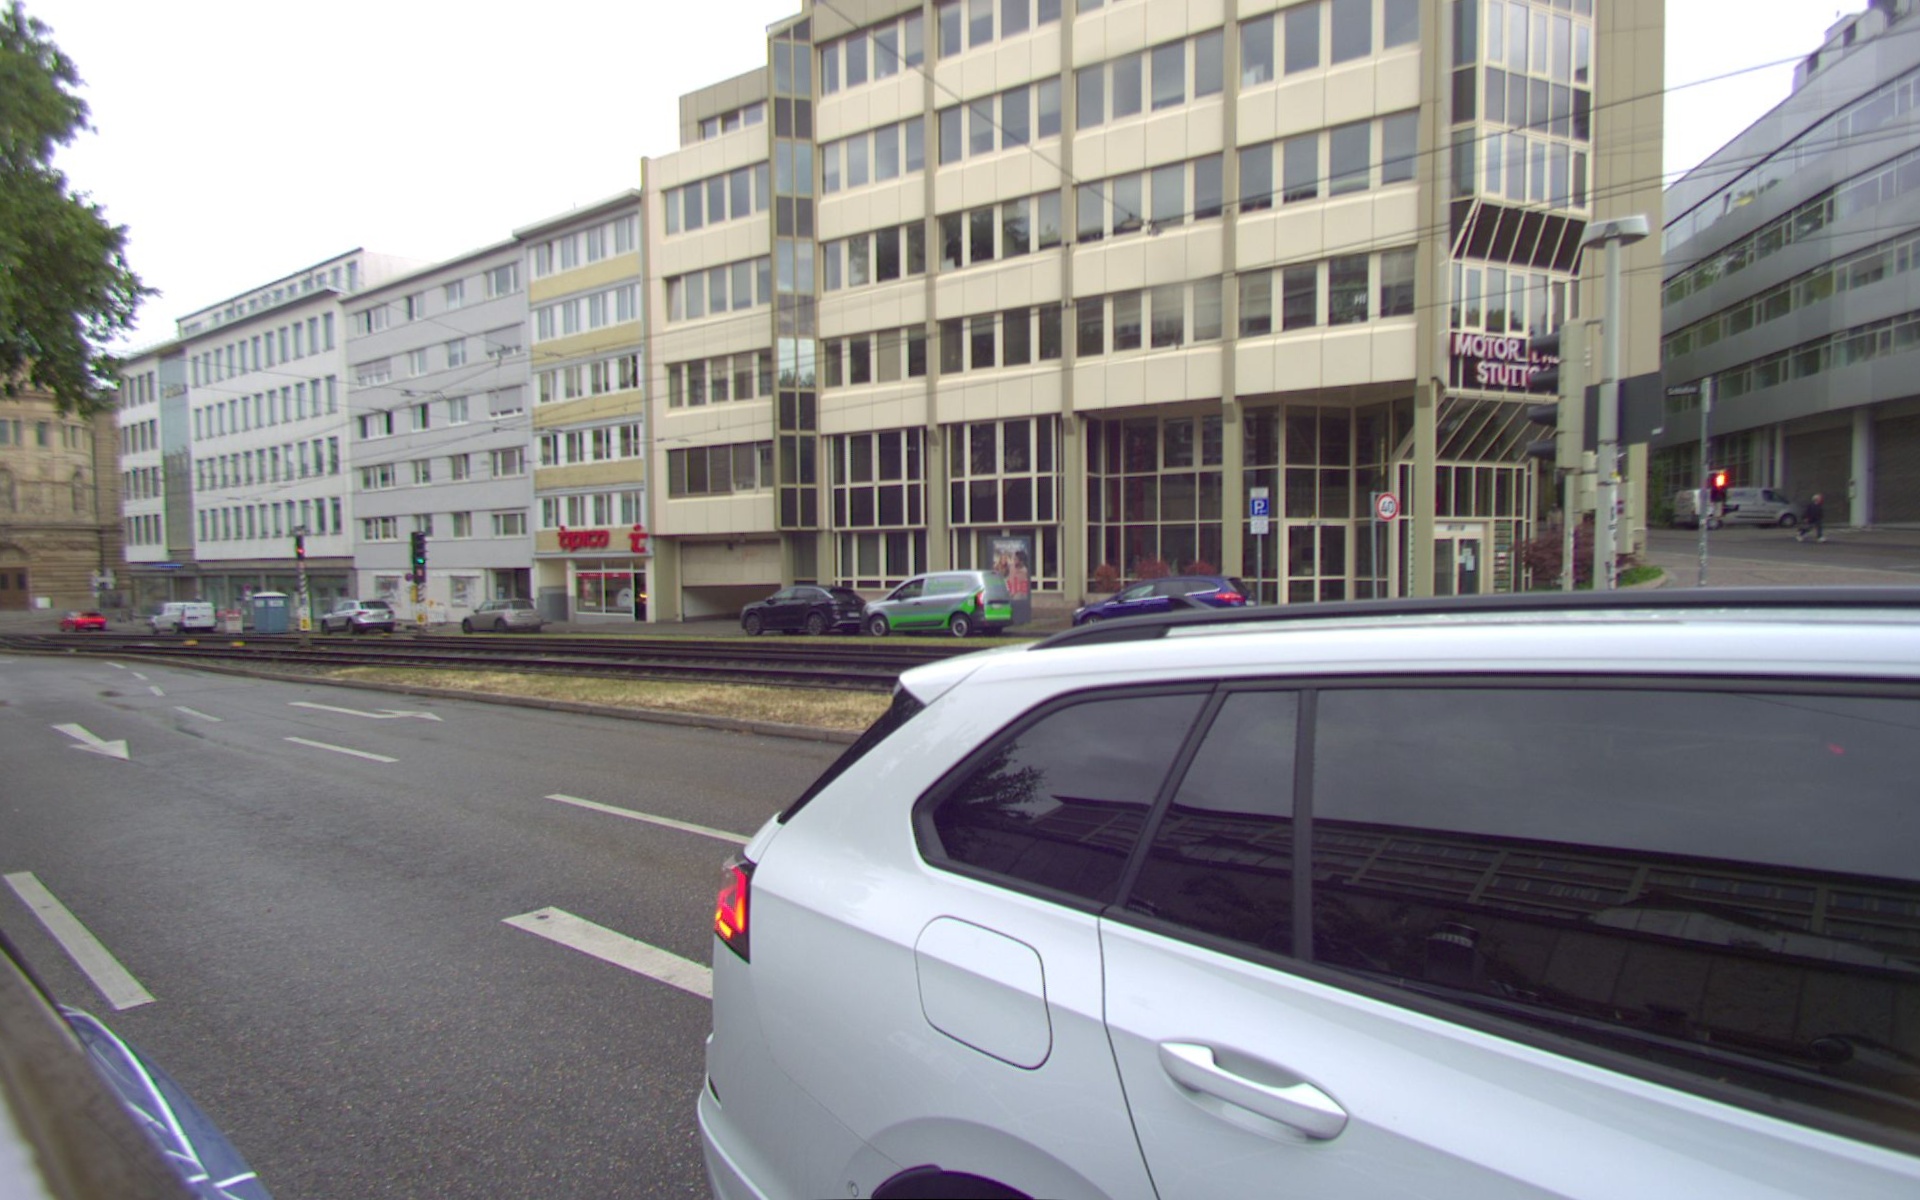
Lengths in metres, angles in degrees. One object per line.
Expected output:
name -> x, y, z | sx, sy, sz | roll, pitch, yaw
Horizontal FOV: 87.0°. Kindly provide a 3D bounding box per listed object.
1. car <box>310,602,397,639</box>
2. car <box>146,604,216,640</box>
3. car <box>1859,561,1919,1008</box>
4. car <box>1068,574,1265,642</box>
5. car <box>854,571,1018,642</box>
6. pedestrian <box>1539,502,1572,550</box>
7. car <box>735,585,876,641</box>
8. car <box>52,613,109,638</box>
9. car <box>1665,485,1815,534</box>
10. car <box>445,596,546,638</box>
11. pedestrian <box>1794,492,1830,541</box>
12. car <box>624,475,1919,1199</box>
car -> -28.313, 0.946, 47.207 | 4.066, 1.524, 1.869 | -1, 3, 34
car -> -46.552, 1.286, 60.450 | 4.465, 1.949, 1.869 | -1, 3, 34
car -> 5.300, 0.572, 2.558 | 4.473, 1.453, 1.777 | -1, 0, 41
car -> 4.816, 0.191, 23.850 | 4.207, 1.488, 1.780 | -1, 0, 35
car -> -0.676, 0.168, 27.864 | 4.204, 1.759, 1.782 | -1, 2, 33
pedestrian -> 22.785, -2.823, 38.752 | 0.821, 1.800, 0.759 | -2, 3, 6
car -> -4.718, 0.377, 30.753 | 4.066, 1.524, 1.782 | -1, 3, 34
car -> -62.211, 1.776, 71.554 | 4.465, 1.636, 1.869 | -1, 3, 34
car -> 37.624, -4.350, 48.939 | 5.357, 2.029, 1.993 | -1, 0, 12
car -> -18.716, 0.663, 40.705 | 4.066, 1.524, 1.782 | -1, 3, 34
pedestrian -> 33.797, -3.287, 40.147 | 0.711, 1.874, 0.847 | -2, 3, 6
car -> 1.611, 0.621, 1.160 | 4.473, 1.453, 1.777 | -1, 0, 41
